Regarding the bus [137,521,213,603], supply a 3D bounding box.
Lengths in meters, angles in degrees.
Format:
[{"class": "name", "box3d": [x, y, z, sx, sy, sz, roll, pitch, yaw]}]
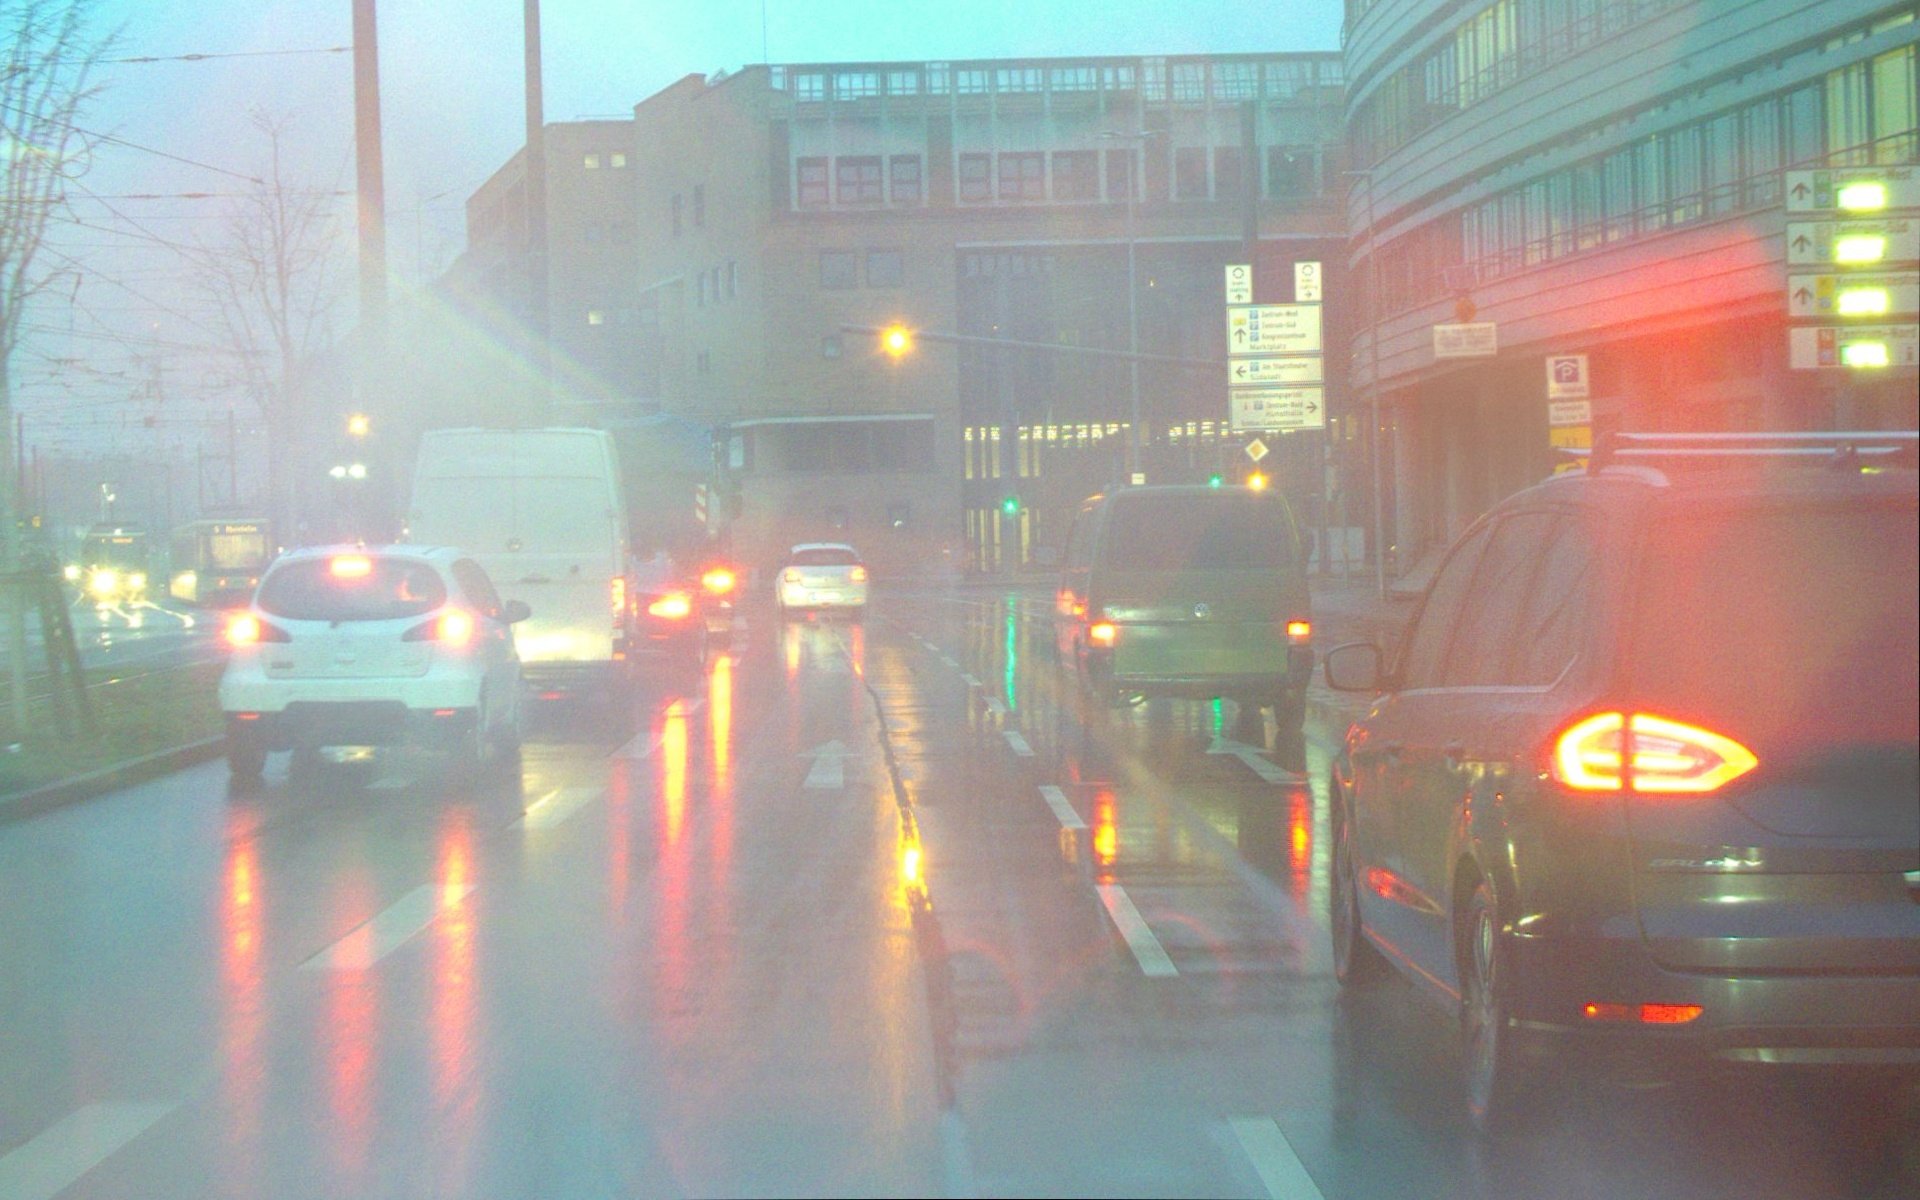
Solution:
[{"class": "bus", "box3d": [-33.377, -1.623, 146.069, 2.822, 3.361, 8.002, -1, 1, -15]}]

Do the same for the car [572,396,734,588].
[{"class": "car", "box3d": [-4.827, -1.667, 54.571, 2.354, 2.817, 6.360, -1, 1, -4]}]

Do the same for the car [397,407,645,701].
[{"class": "car", "box3d": [-3.982, -0.439, 31.777, 1.993, 2.419, 5.975, -2, 1, -6]}]

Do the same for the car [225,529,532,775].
[{"class": "car", "box3d": [-3.922, 0.290, 23.680, 1.638, 1.491, 3.686, -1, 2, -3]}]

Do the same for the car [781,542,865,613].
[{"class": "car", "box3d": [-2.666, -0.454, 67.369, 1.511, 1.301, 3.041, -1, 1, -1]}]

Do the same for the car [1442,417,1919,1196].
[{"class": "car", "box3d": [2.472, 0.430, 9.815, 1.674, 1.773, 4.000, 0, 1, 1]}]

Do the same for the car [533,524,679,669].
[{"class": "car", "box3d": [-3.946, -0.045, 38.548, 1.517, 1.515, 3.471, -1, 0, -5]}]

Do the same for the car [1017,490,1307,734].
[{"class": "car", "box3d": [1.567, 0.041, 28.197, 1.843, 1.800, 4.487, -1, 1, -3]}]
